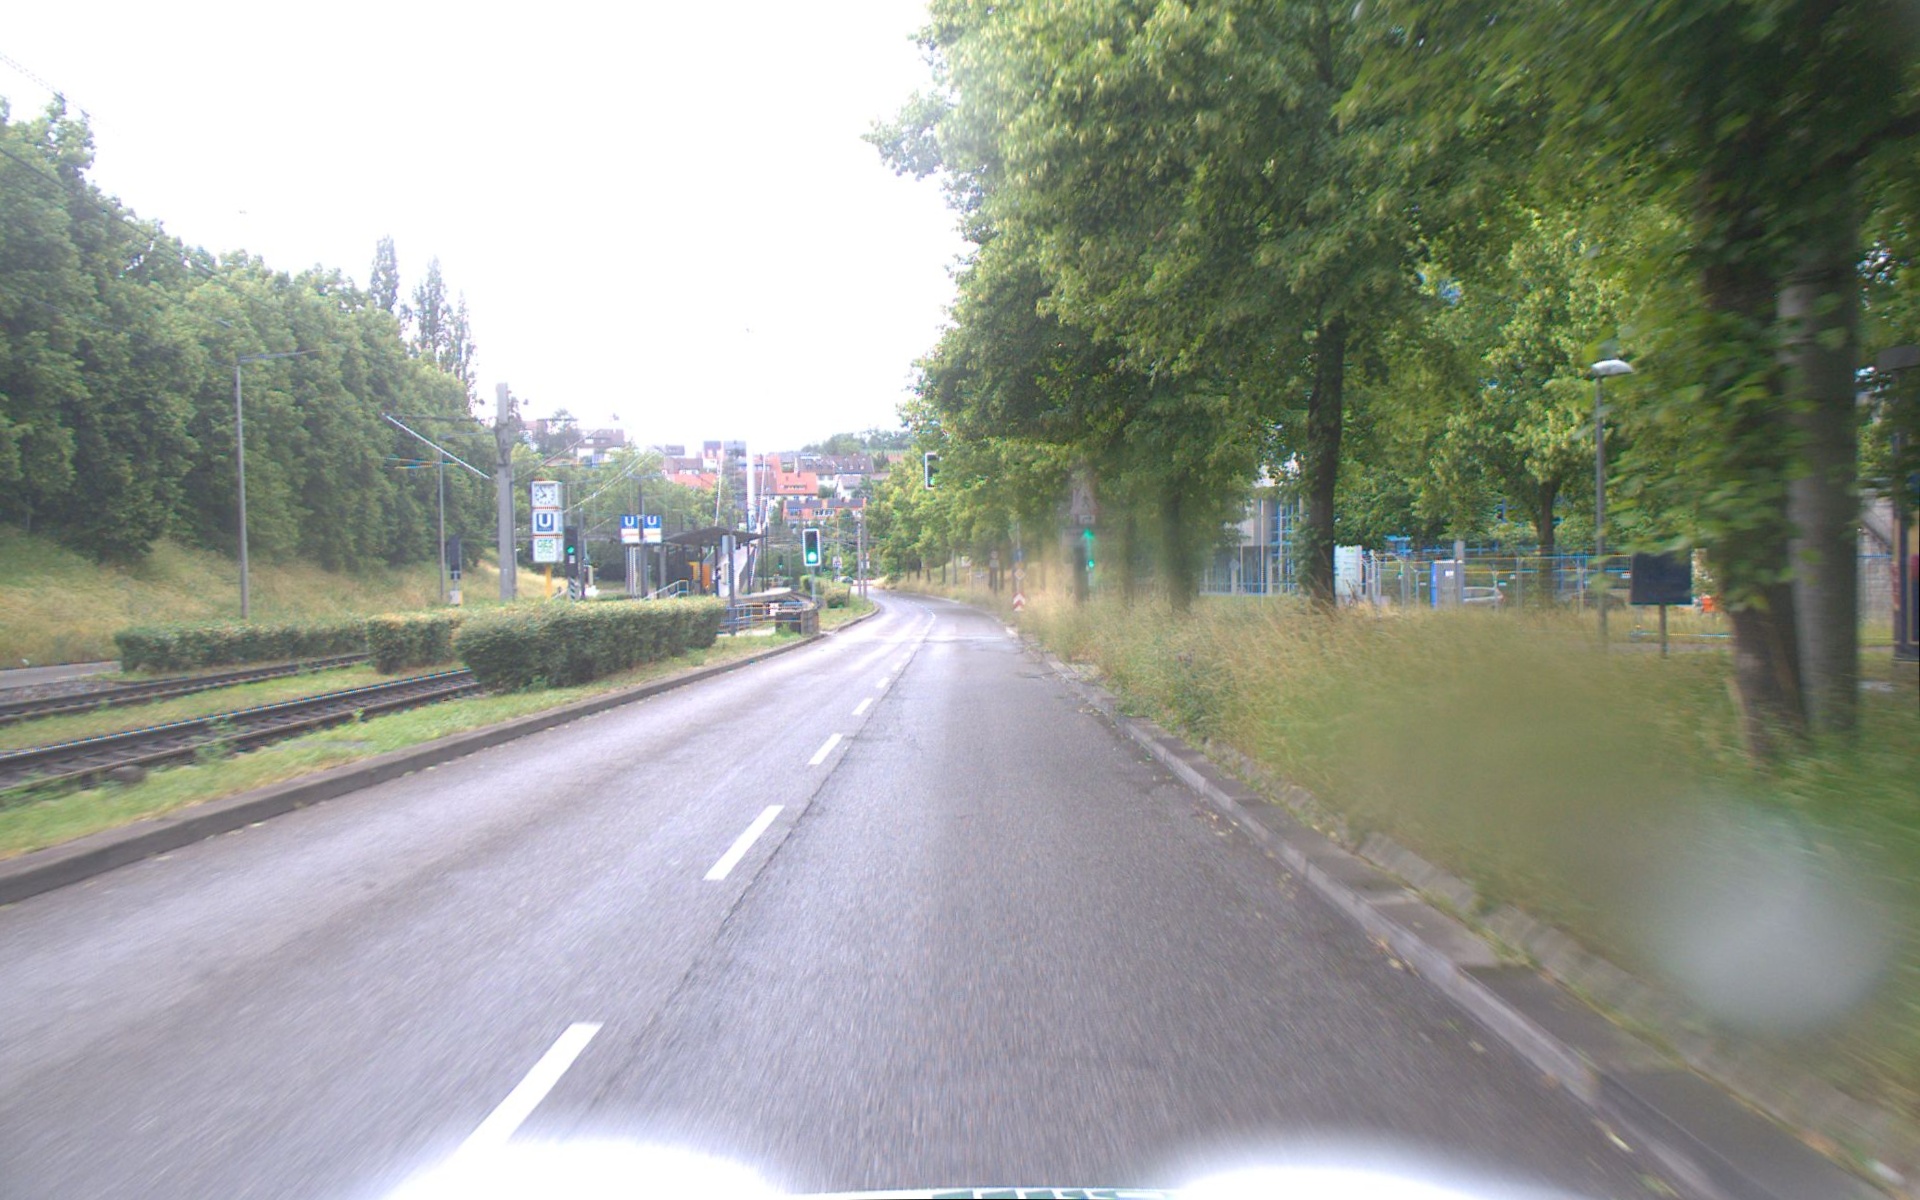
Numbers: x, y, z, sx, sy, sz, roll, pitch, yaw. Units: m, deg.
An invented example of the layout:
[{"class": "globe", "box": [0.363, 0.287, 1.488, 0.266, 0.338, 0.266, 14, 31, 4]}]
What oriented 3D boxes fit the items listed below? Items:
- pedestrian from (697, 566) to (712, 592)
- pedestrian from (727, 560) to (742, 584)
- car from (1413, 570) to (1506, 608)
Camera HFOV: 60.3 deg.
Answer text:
[{"class": "pedestrian", "box": [-13.751, -1.141, 88.896, 0.738, 1.379, 0.692, 0, 1, -4]}, {"class": "pedestrian", "box": [-15.167, -1.876, 111.053, 0.916, 1.639, 1.026, 0, 1, -4]}, {"class": "car", "box": [23.820, -0.536, 78.965, 4.010, 1.670, 1.759, -1, 3, 5]}]
